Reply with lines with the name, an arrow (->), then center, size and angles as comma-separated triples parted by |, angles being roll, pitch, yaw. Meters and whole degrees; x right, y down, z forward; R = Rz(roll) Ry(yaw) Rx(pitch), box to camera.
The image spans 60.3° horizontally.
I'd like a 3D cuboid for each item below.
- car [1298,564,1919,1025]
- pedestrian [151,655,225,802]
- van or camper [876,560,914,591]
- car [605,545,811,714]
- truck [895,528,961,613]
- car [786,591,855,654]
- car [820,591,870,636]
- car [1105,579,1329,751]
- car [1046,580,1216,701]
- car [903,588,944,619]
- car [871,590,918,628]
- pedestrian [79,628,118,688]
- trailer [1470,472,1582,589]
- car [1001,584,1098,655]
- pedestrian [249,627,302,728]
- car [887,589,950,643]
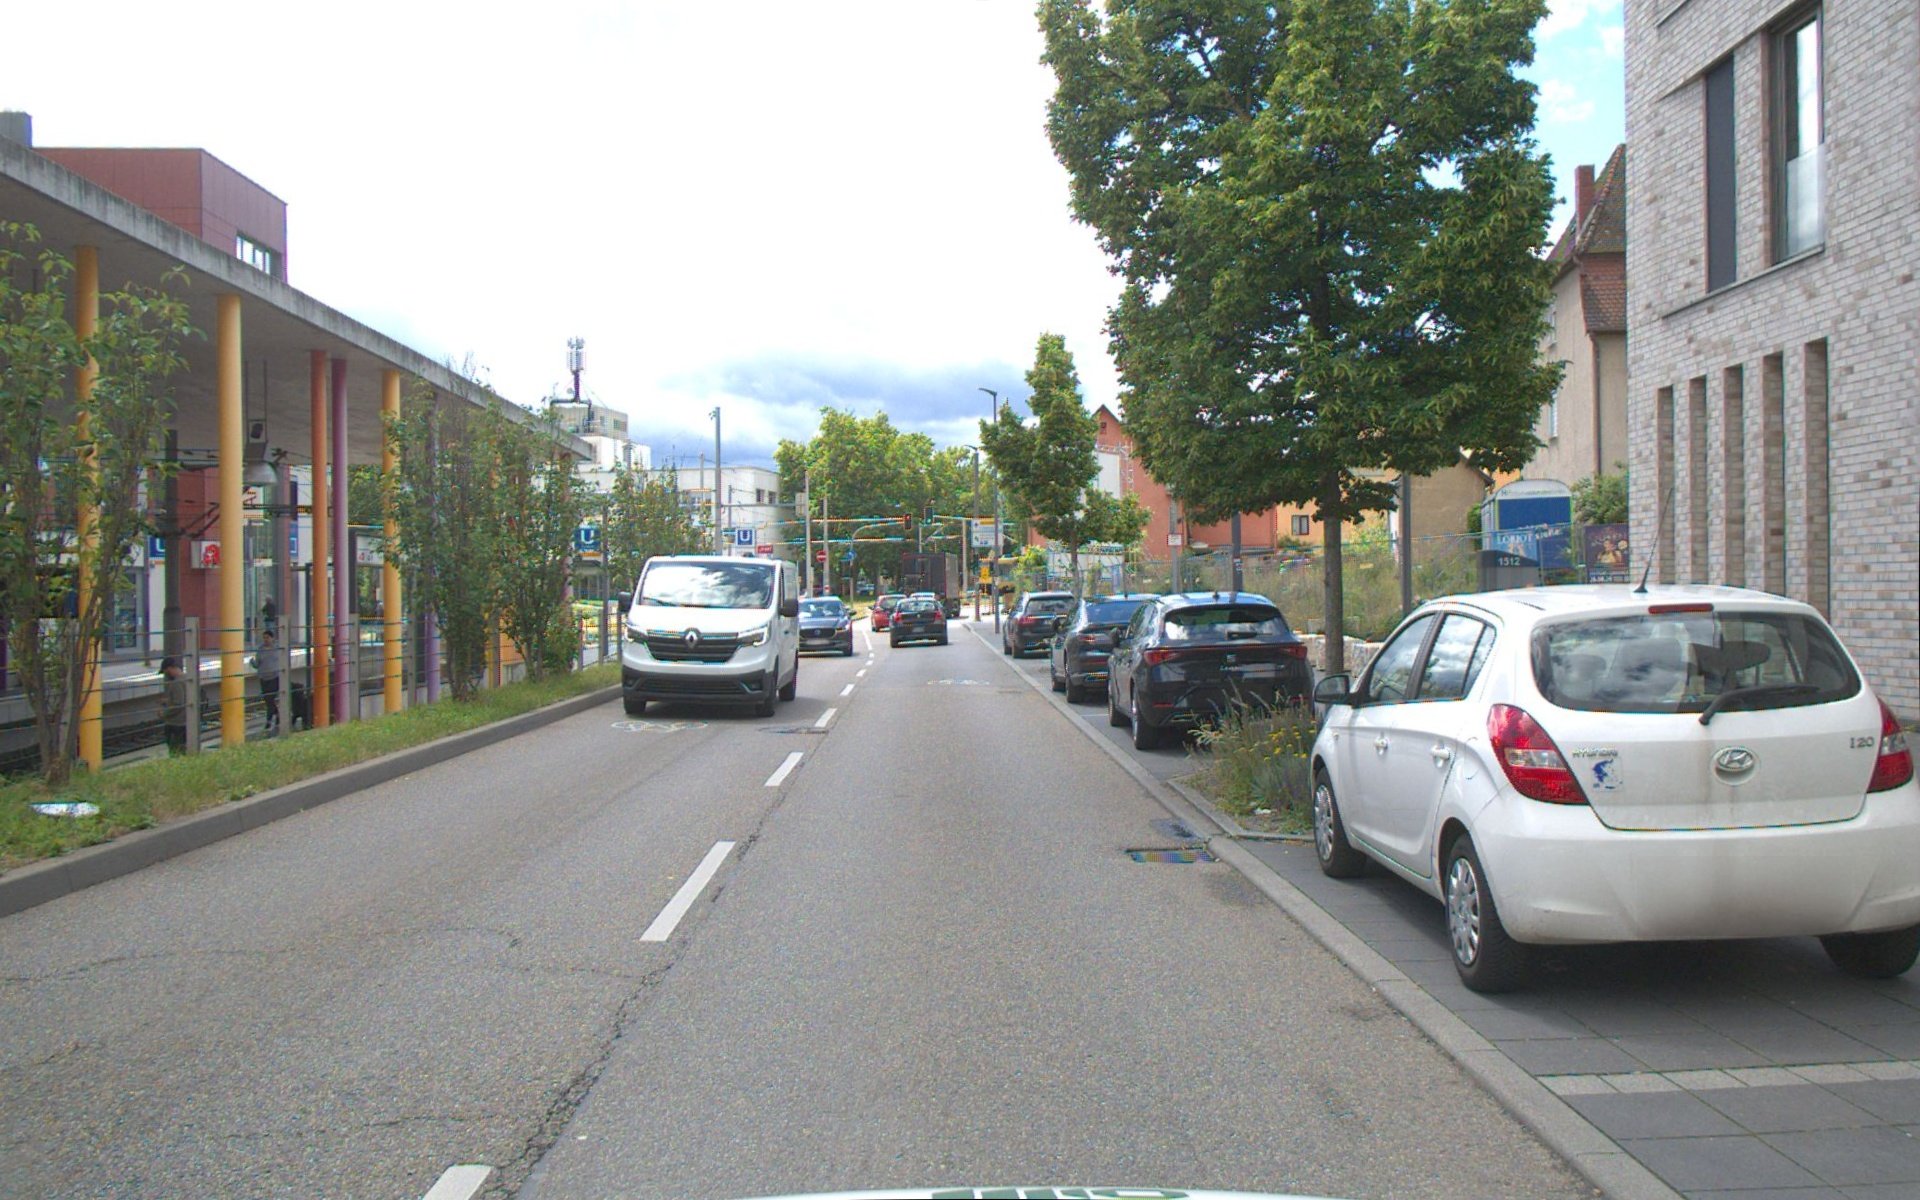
car -> 2.756, 0.648, 7.525 | 1.658, 1.509, 3.798 | -2, 0, 1
pedestrian -> -9.979, 1.641, 21.401 | 0.574, 1.862, 0.710 | 0, -2, 1
van or camper -> -6.561, -2.443, 167.455 | 2.129, 2.855, 6.073 | 0, -2, 15
car -> -3.140, 0.339, 21.679 | 1.963, 1.951, 5.064 | 0, 0, -1
truck -> -1.794, -1.602, 96.872 | 3.136, 4.615, 9.032 | 0, -1, 4
car -> -3.665, 0.570, 43.952 | 1.690, 1.548, 4.252 | 1, 0, -3
car -> -4.260, 0.466, 60.843 | 1.736, 1.534, 3.996 | -2, 1, -5
car -> 2.518, 0.579, 17.108 | 1.658, 1.486, 4.147 | -2, 0, 0
car -> 2.315, 0.510, 23.540 | 1.827, 1.476, 4.643 | -2, 0, -1
car -> -1.895, 0.214, 84.228 | 1.851, 1.491, 4.065 | -2, 0, -4
car -> -2.702, 0.349, 67.460 | 1.679, 1.417, 3.804 | -2, 1, -6
pedestrian -> -24.324, 1.642, 46.708 | 0.643, 1.678, 0.842 | 0, -2, -1
trailer -> 16.856, -1.985, 49.567 | 2.353, 3.176, 6.166 | -2, 0, 12
car -> 2.008, 0.409, 38.191 | 1.746, 1.477, 4.474 | -2, 0, -3
pedestrian -> -11.433, 1.282, 27.631 | 0.616, 1.642, 0.636 | 0, 1, 0
car -> -1.276, 0.443, 49.729 | 1.692, 1.482, 3.806 | -2, 1, -4
